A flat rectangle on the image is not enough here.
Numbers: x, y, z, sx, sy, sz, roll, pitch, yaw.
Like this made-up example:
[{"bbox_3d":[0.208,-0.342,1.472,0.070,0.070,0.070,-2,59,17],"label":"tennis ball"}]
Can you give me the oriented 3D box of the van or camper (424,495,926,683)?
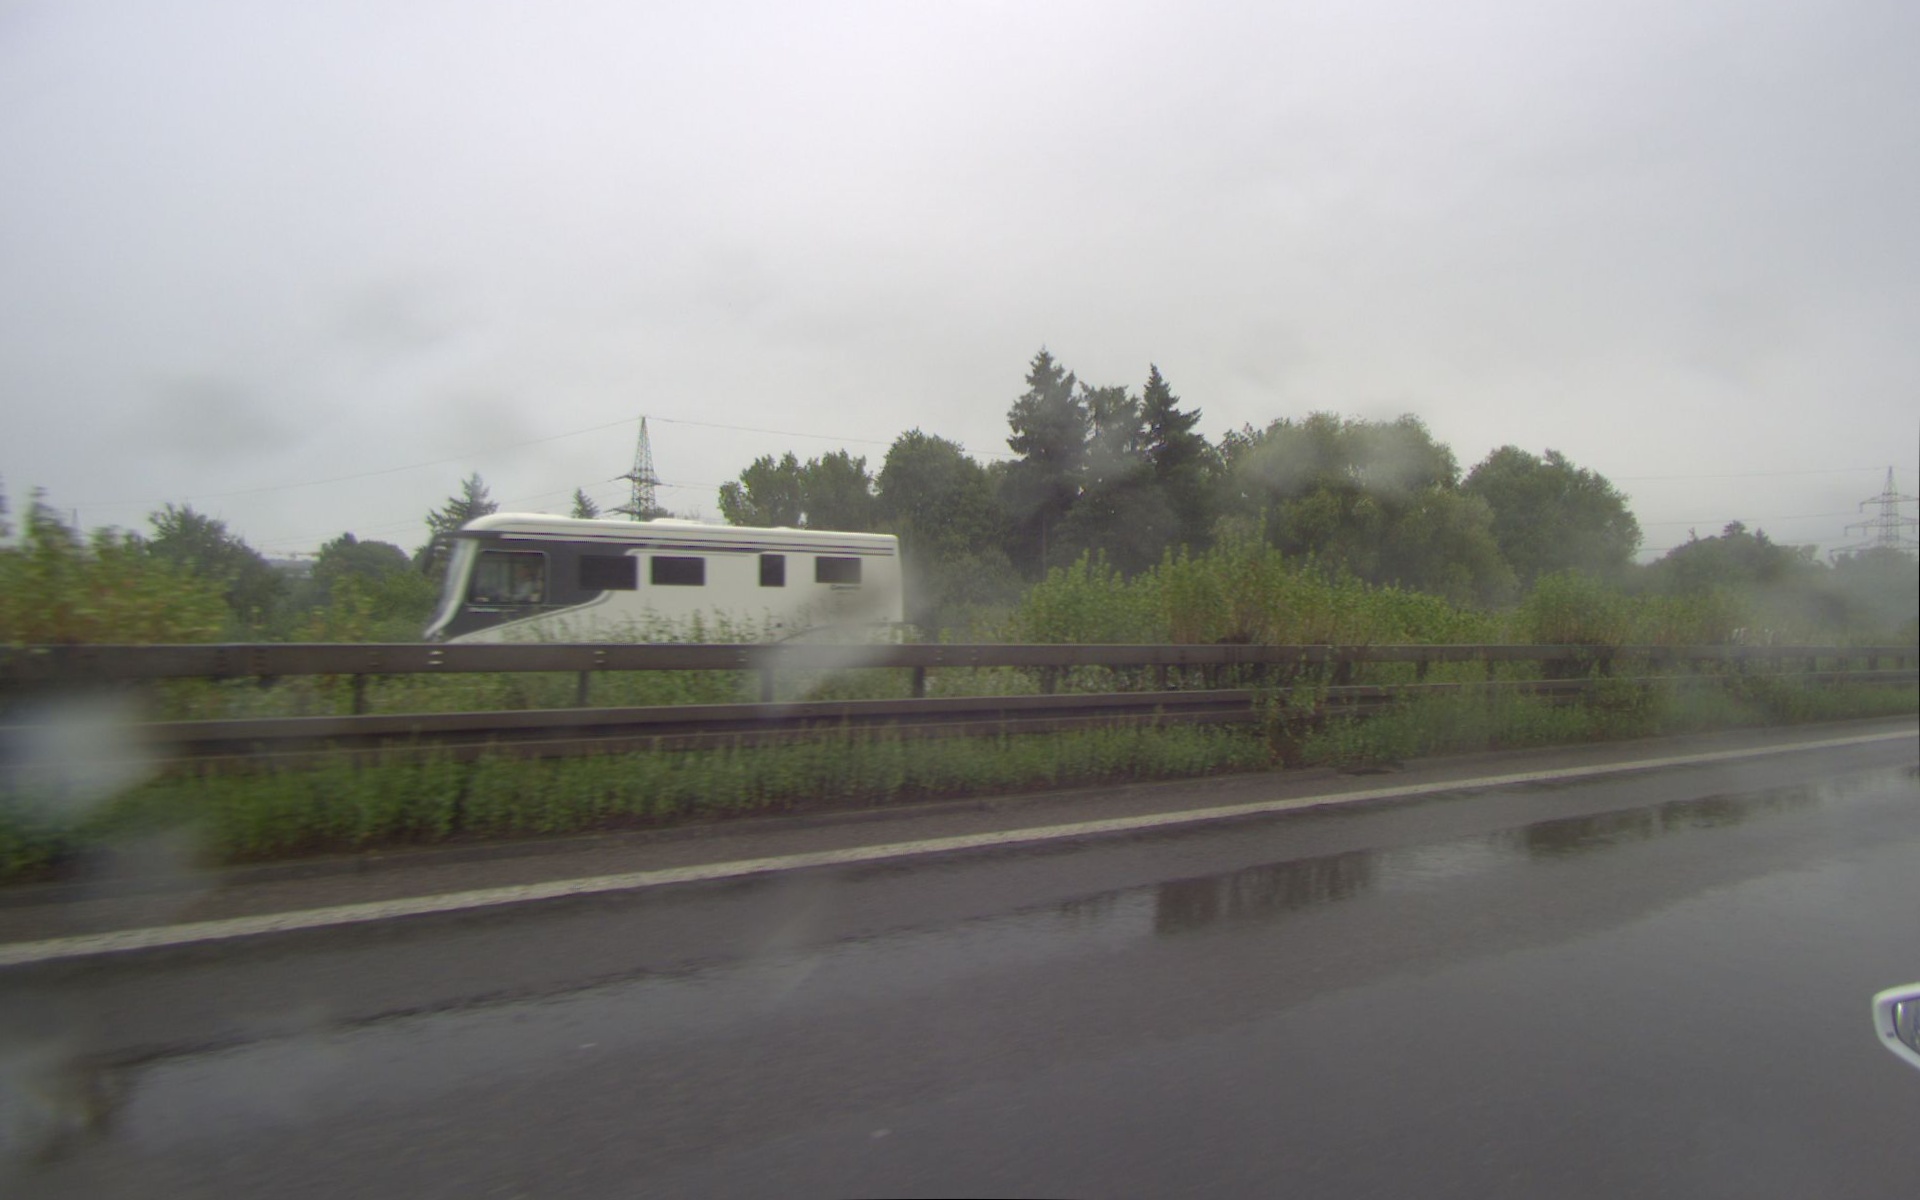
[{"bbox_3d":[-5.505,-0.107,20.432,9.404,3.127,2.873,1,0,-31],"label":"van or camper"}]
